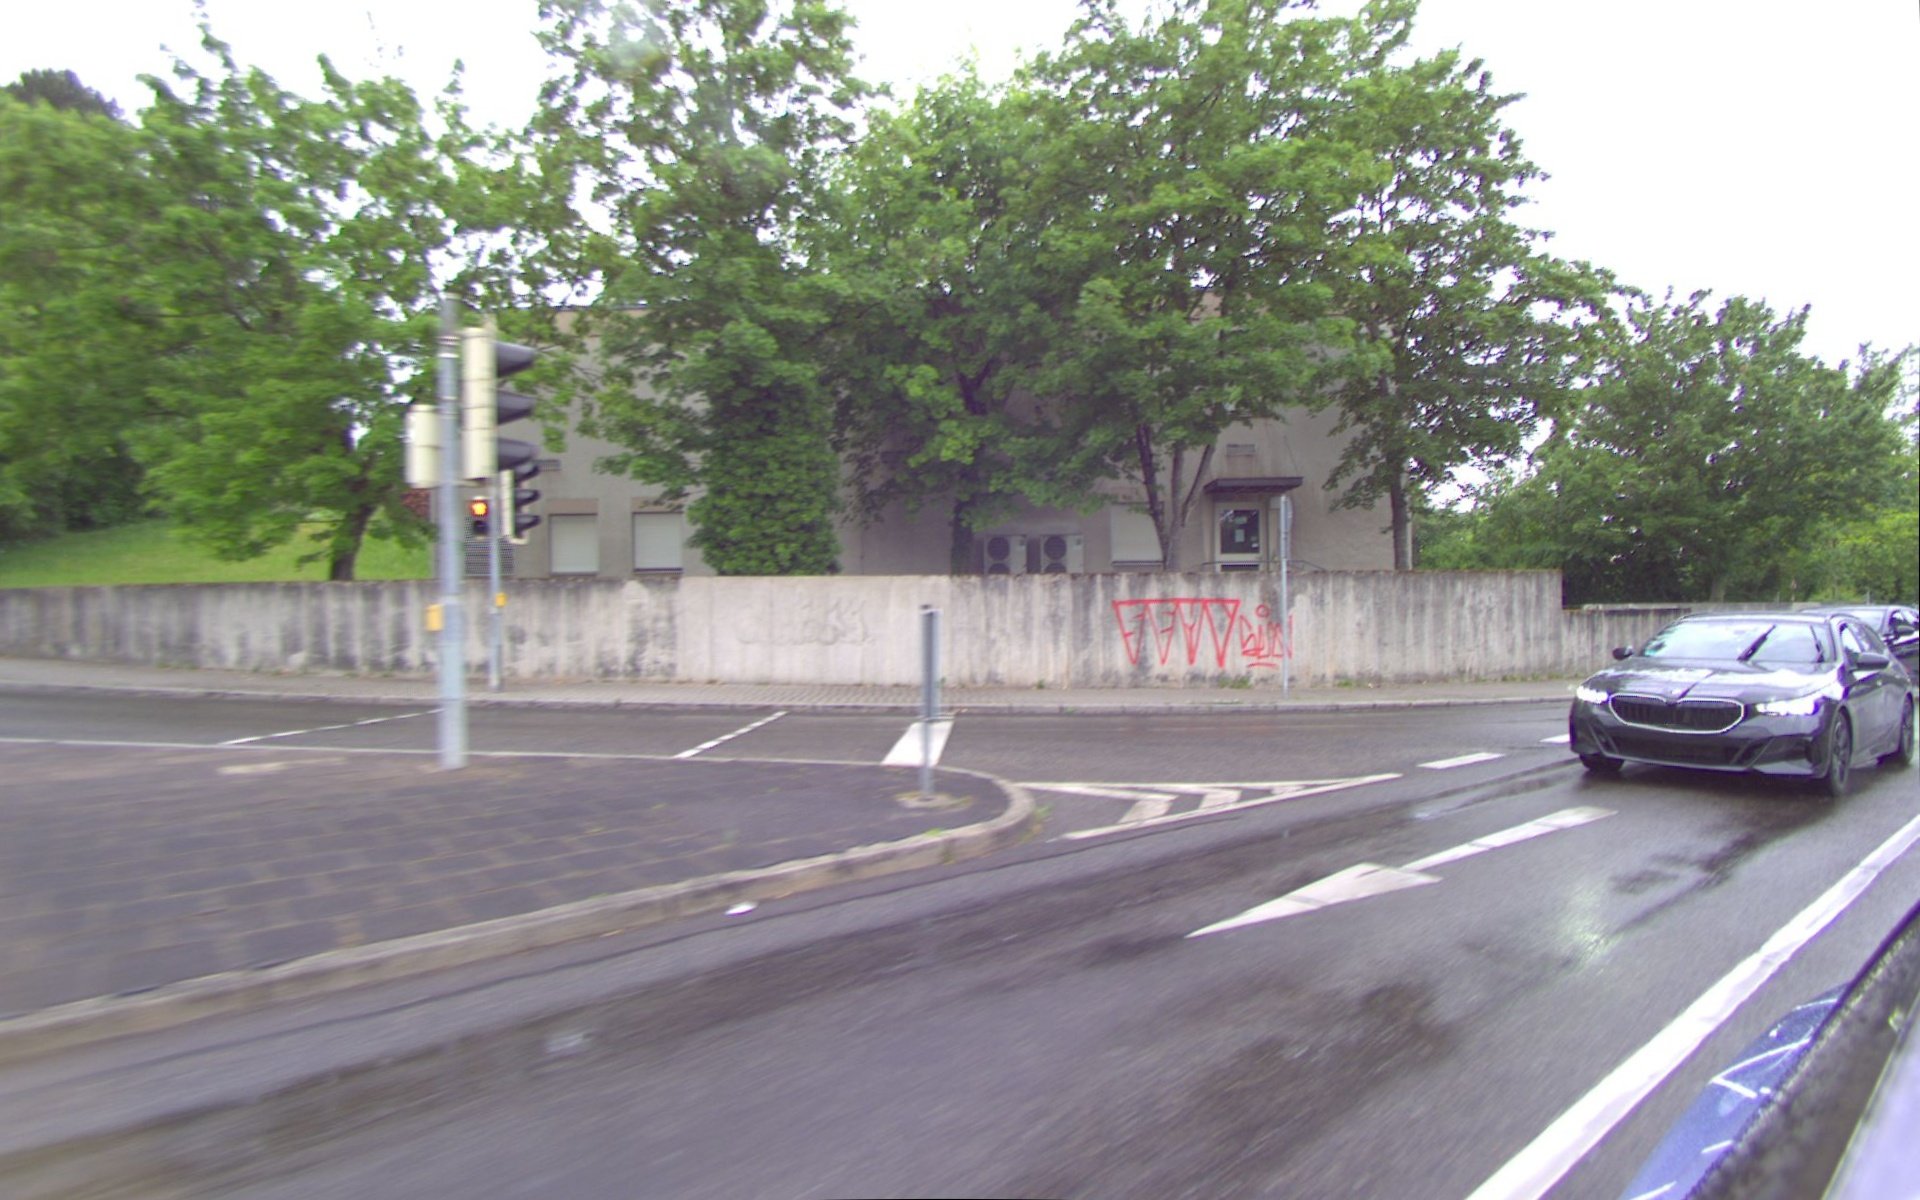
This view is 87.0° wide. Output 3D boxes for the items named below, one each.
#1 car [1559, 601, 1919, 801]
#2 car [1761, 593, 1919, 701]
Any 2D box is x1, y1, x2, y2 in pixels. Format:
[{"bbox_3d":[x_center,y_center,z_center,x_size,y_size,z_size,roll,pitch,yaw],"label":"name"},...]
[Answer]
[{"bbox_3d":[7.708,0.760,9.713,4.692,1.477,1.909,0,-1,-40],"label":"car"},{"bbox_3d":[15.435,0.738,17.167,4.173,1.624,1.795,0,-2,-36],"label":"car"}]
